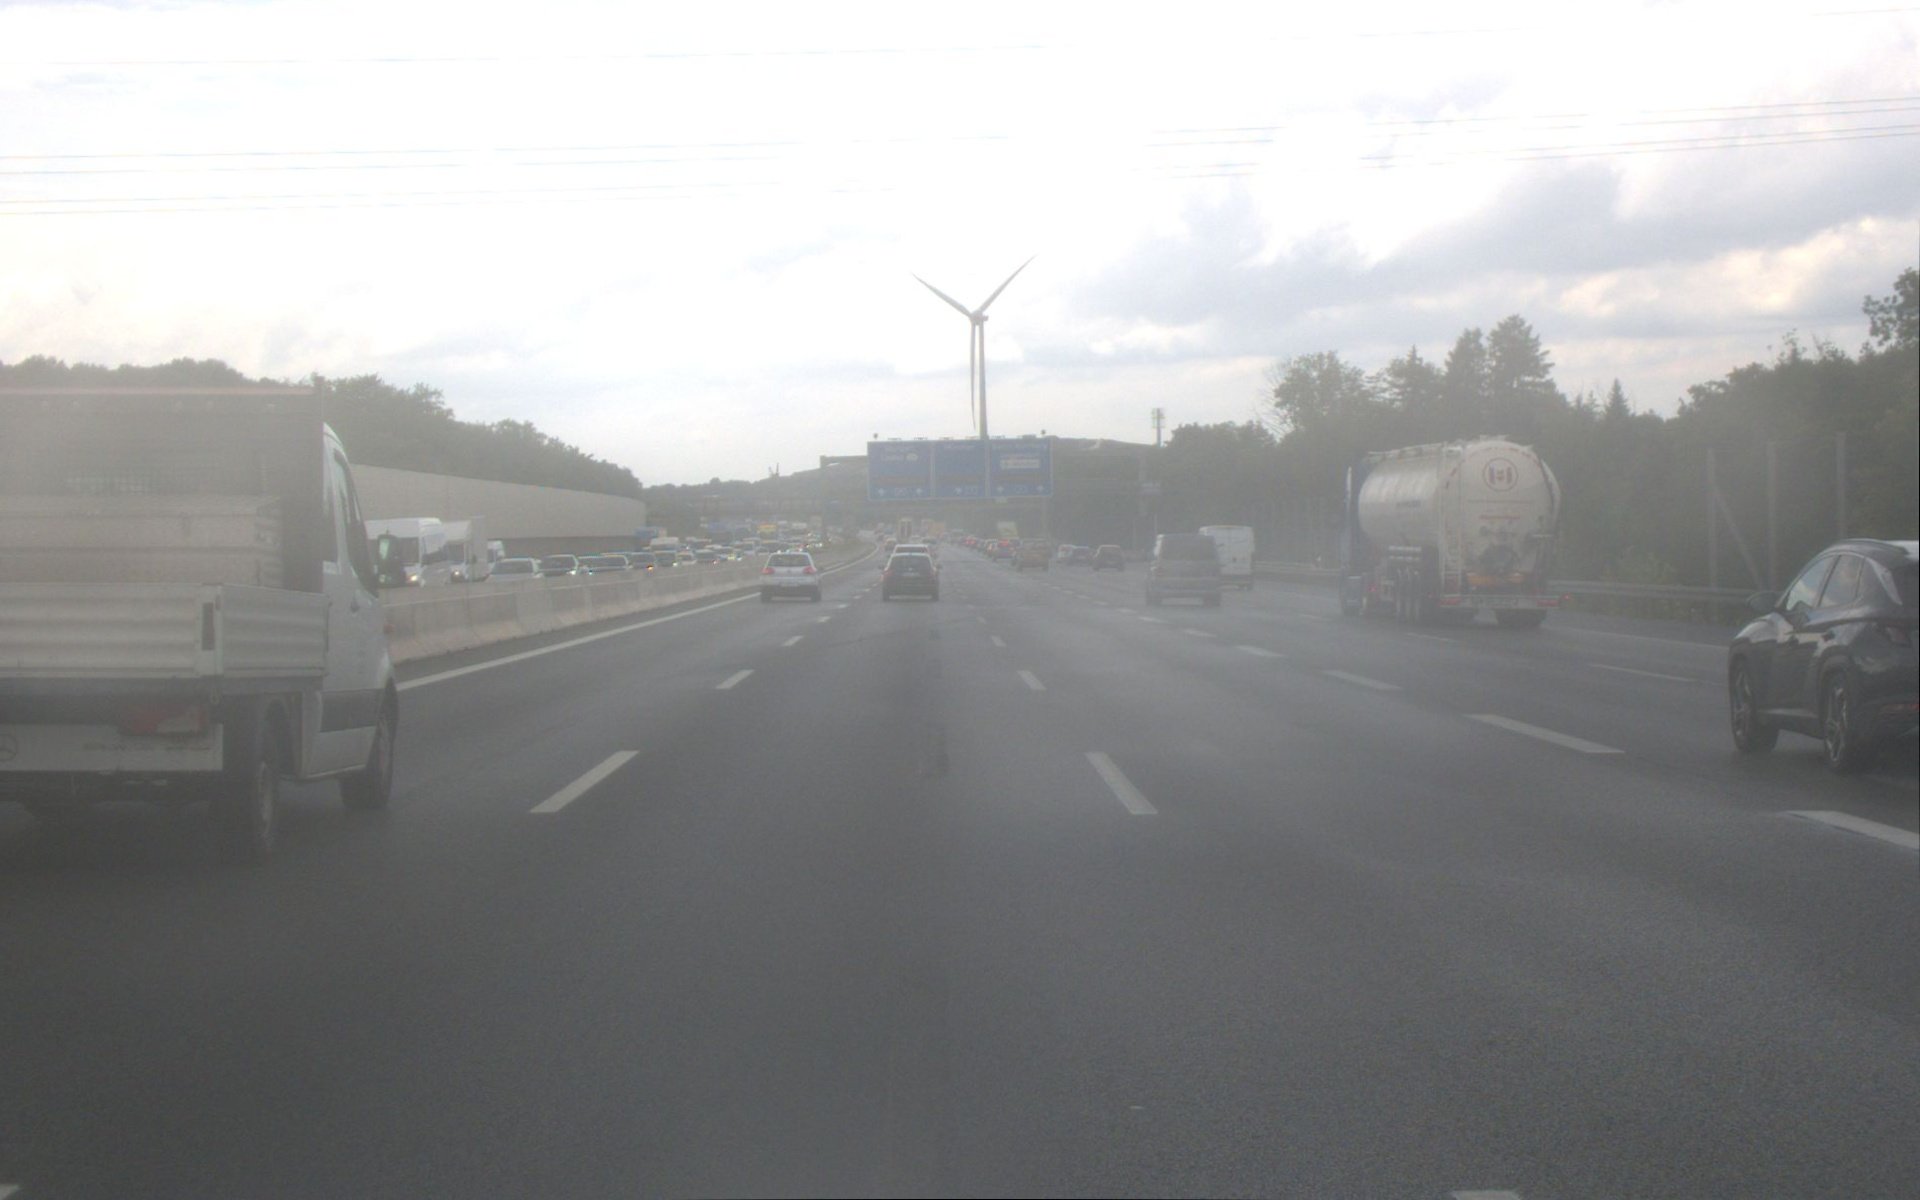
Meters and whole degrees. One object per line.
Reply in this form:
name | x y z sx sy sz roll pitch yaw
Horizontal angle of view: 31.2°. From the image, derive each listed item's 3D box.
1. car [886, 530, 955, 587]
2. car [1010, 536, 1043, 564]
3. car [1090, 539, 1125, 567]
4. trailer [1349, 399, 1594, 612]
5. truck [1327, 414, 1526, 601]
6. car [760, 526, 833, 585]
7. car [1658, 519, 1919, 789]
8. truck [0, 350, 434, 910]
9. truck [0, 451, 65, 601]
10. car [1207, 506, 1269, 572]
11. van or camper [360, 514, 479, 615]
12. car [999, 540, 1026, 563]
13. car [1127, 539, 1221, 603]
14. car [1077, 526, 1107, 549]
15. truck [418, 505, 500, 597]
car | -1.210 -1.295 105.955 2.045 1.693 4.000 0 2 0
car | 4.208 -3.173 217.213 2.045 1.693 4.000 0 2 0
car | 9.381 -2.989 218.652 1.993 1.744 4.497 0 1 -1
trailer | 10.709 -1.995 73.402 3.332 4.161 11.839 1 1 -1
truck | 10.641 -2.124 79.295 3.333 4.066 8.272 1 1 -1
car | -4.909 -1.361 103.568 2.045 1.693 4.001 0 2 -1
car | 6.551 0.303 24.544 2.045 1.693 5.007 1 2 0
truck | -4.489 0.020 18.446 2.353 2.400 7.359 1 2 -1
truck | -23.337 -1.750 80.677 3.043 3.394 6.528 0 1 -1
car | 10.754 -2.378 133.202 2.045 2.489 4.001 0 2 -1
van or camper | -14.950 -1.006 95.472 2.178 2.695 7.521 0 1 -1
car | 3.889 -3.618 255.370 1.868 1.722 4.000 0 1 -1
car | 5.918 -0.817 95.568 2.097 1.693 4.001 0 2 -4
car | 9.842 -4.649 256.288 2.045 1.693 4.000 0 2 0
truck | -19.506 -1.934 134.140 2.184 3.507 7.492 0 1 -1
